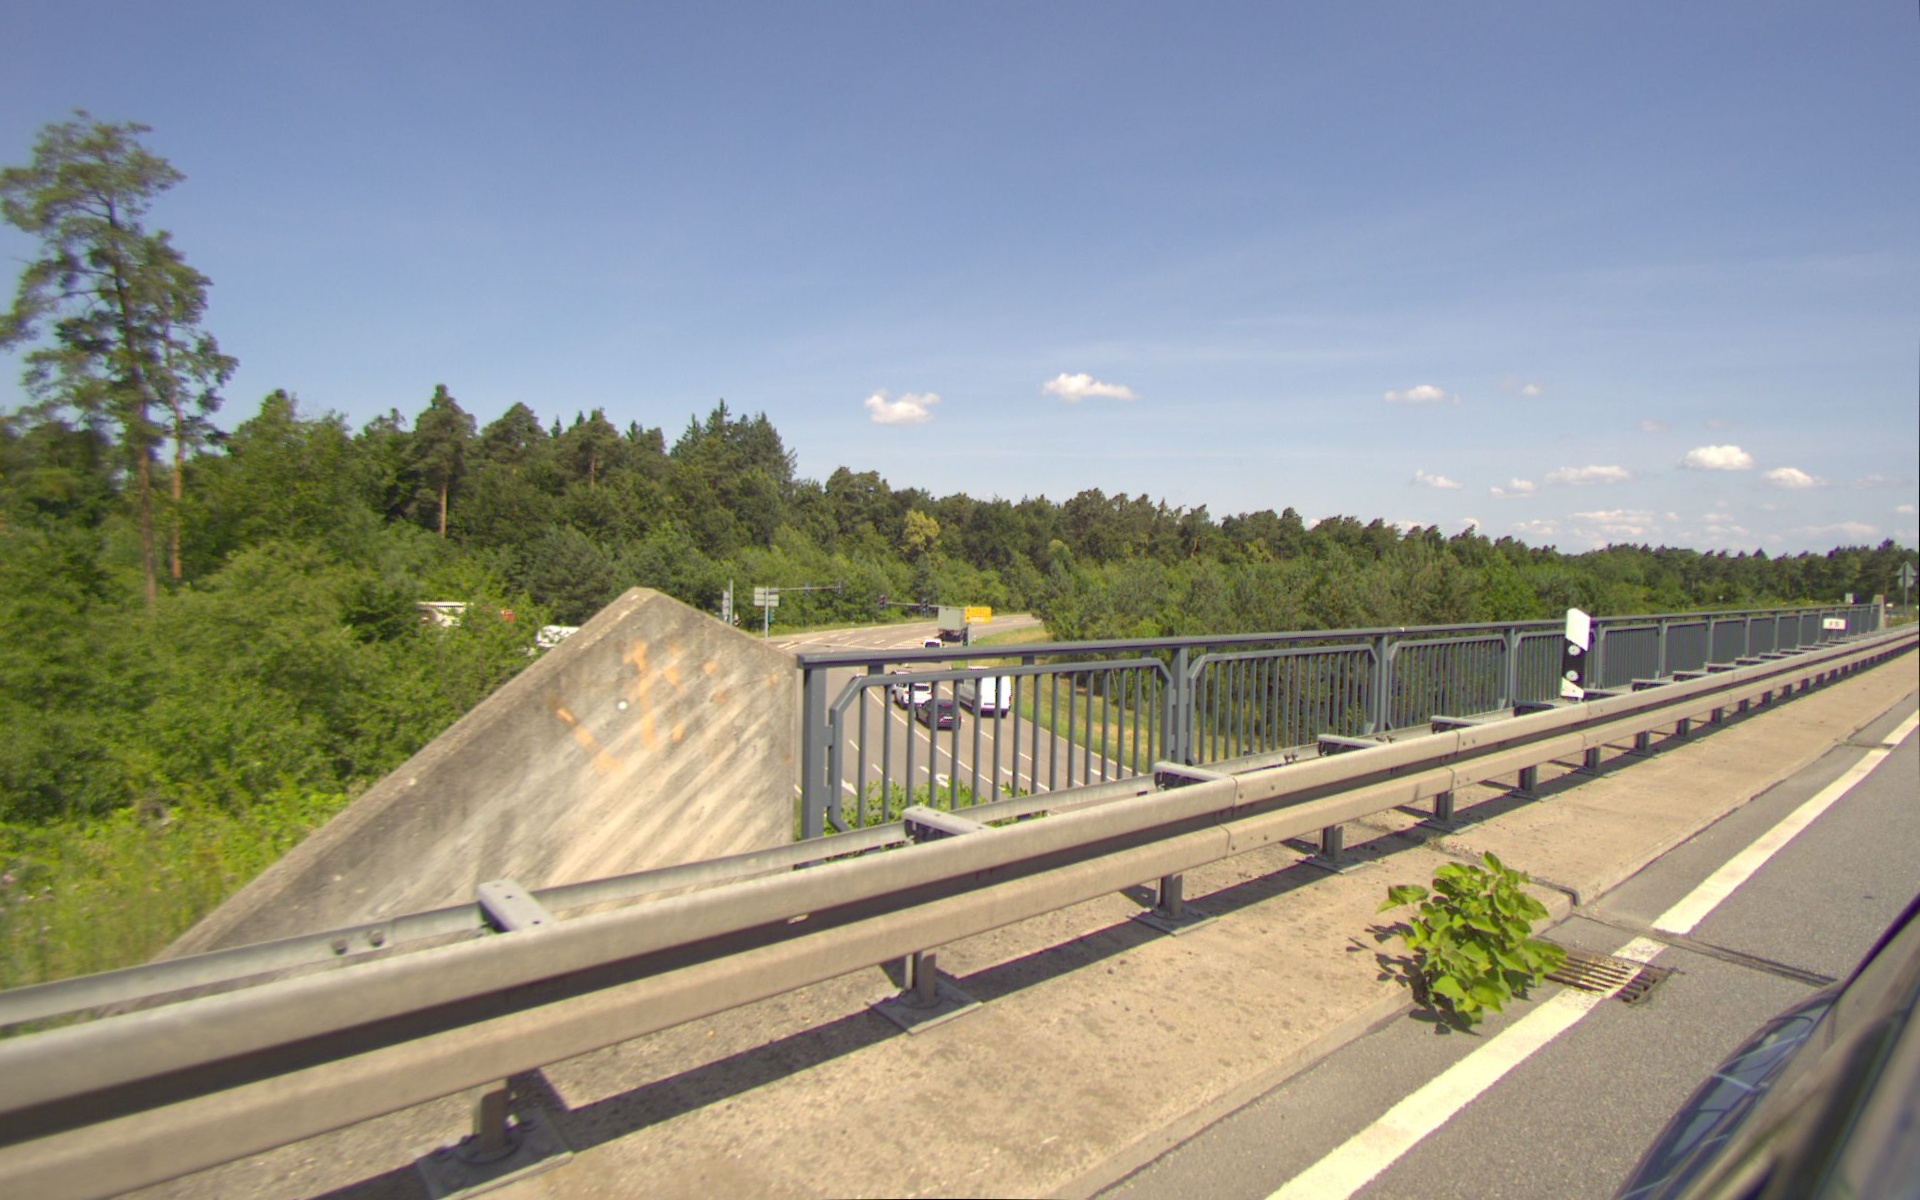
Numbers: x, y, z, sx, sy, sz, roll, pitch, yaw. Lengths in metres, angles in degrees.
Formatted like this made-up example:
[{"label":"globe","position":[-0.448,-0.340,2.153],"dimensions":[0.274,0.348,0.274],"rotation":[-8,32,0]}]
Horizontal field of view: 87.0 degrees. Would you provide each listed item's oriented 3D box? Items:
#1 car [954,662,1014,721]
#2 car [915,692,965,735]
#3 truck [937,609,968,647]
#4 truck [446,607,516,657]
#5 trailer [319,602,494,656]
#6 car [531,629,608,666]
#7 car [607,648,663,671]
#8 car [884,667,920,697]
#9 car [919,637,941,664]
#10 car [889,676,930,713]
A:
[{"label":"car","position":[1.359,5.439,60.903],"dimensions":[1.994,2.683,6.368],"rotation":[2,2,-13]},{"label":"car","position":[-1.111,6.005,53.930],"dimensions":[1.721,1.652,4.377],"rotation":[4,1,-12]},{"label":"truck","position":[-0.839,3.145,116.703],"dimensions":[2.253,3.765,9.007],"rotation":[3,2,7]},{"label":"truck","position":[-37.710,2.526,79.710],"dimensions":[4.345,3.703,2.227],"rotation":[2,-2,5]},{"label":"trailer","position":[-43.856,2.281,80.278],"dimensions":[12.930,3.703,2.256],"rotation":[2,-2,5]},{"label":"car","position":[-30.260,3.633,78.442],"dimensions":[5.362,2.566,1.990],"rotation":[2,-2,16]},{"label":"car","position":[-24.295,4.440,75.632],"dimensions":[3.734,1.463,1.753],"rotation":[2,-2,22]},{"label":"car","position":[-3.937,5.495,68.257],"dimensions":[1.666,1.459,4.407],"rotation":[4,1,-12]},{"label":"car","position":[-2.748,4.585,91.887],"dimensions":[1.869,1.989,5.238],"rotation":[4,1,-3]},{"label":"car","position":[-3.062,5.648,60.623],"dimensions":[1.721,1.652,4.142],"rotation":[4,1,-12]}]
